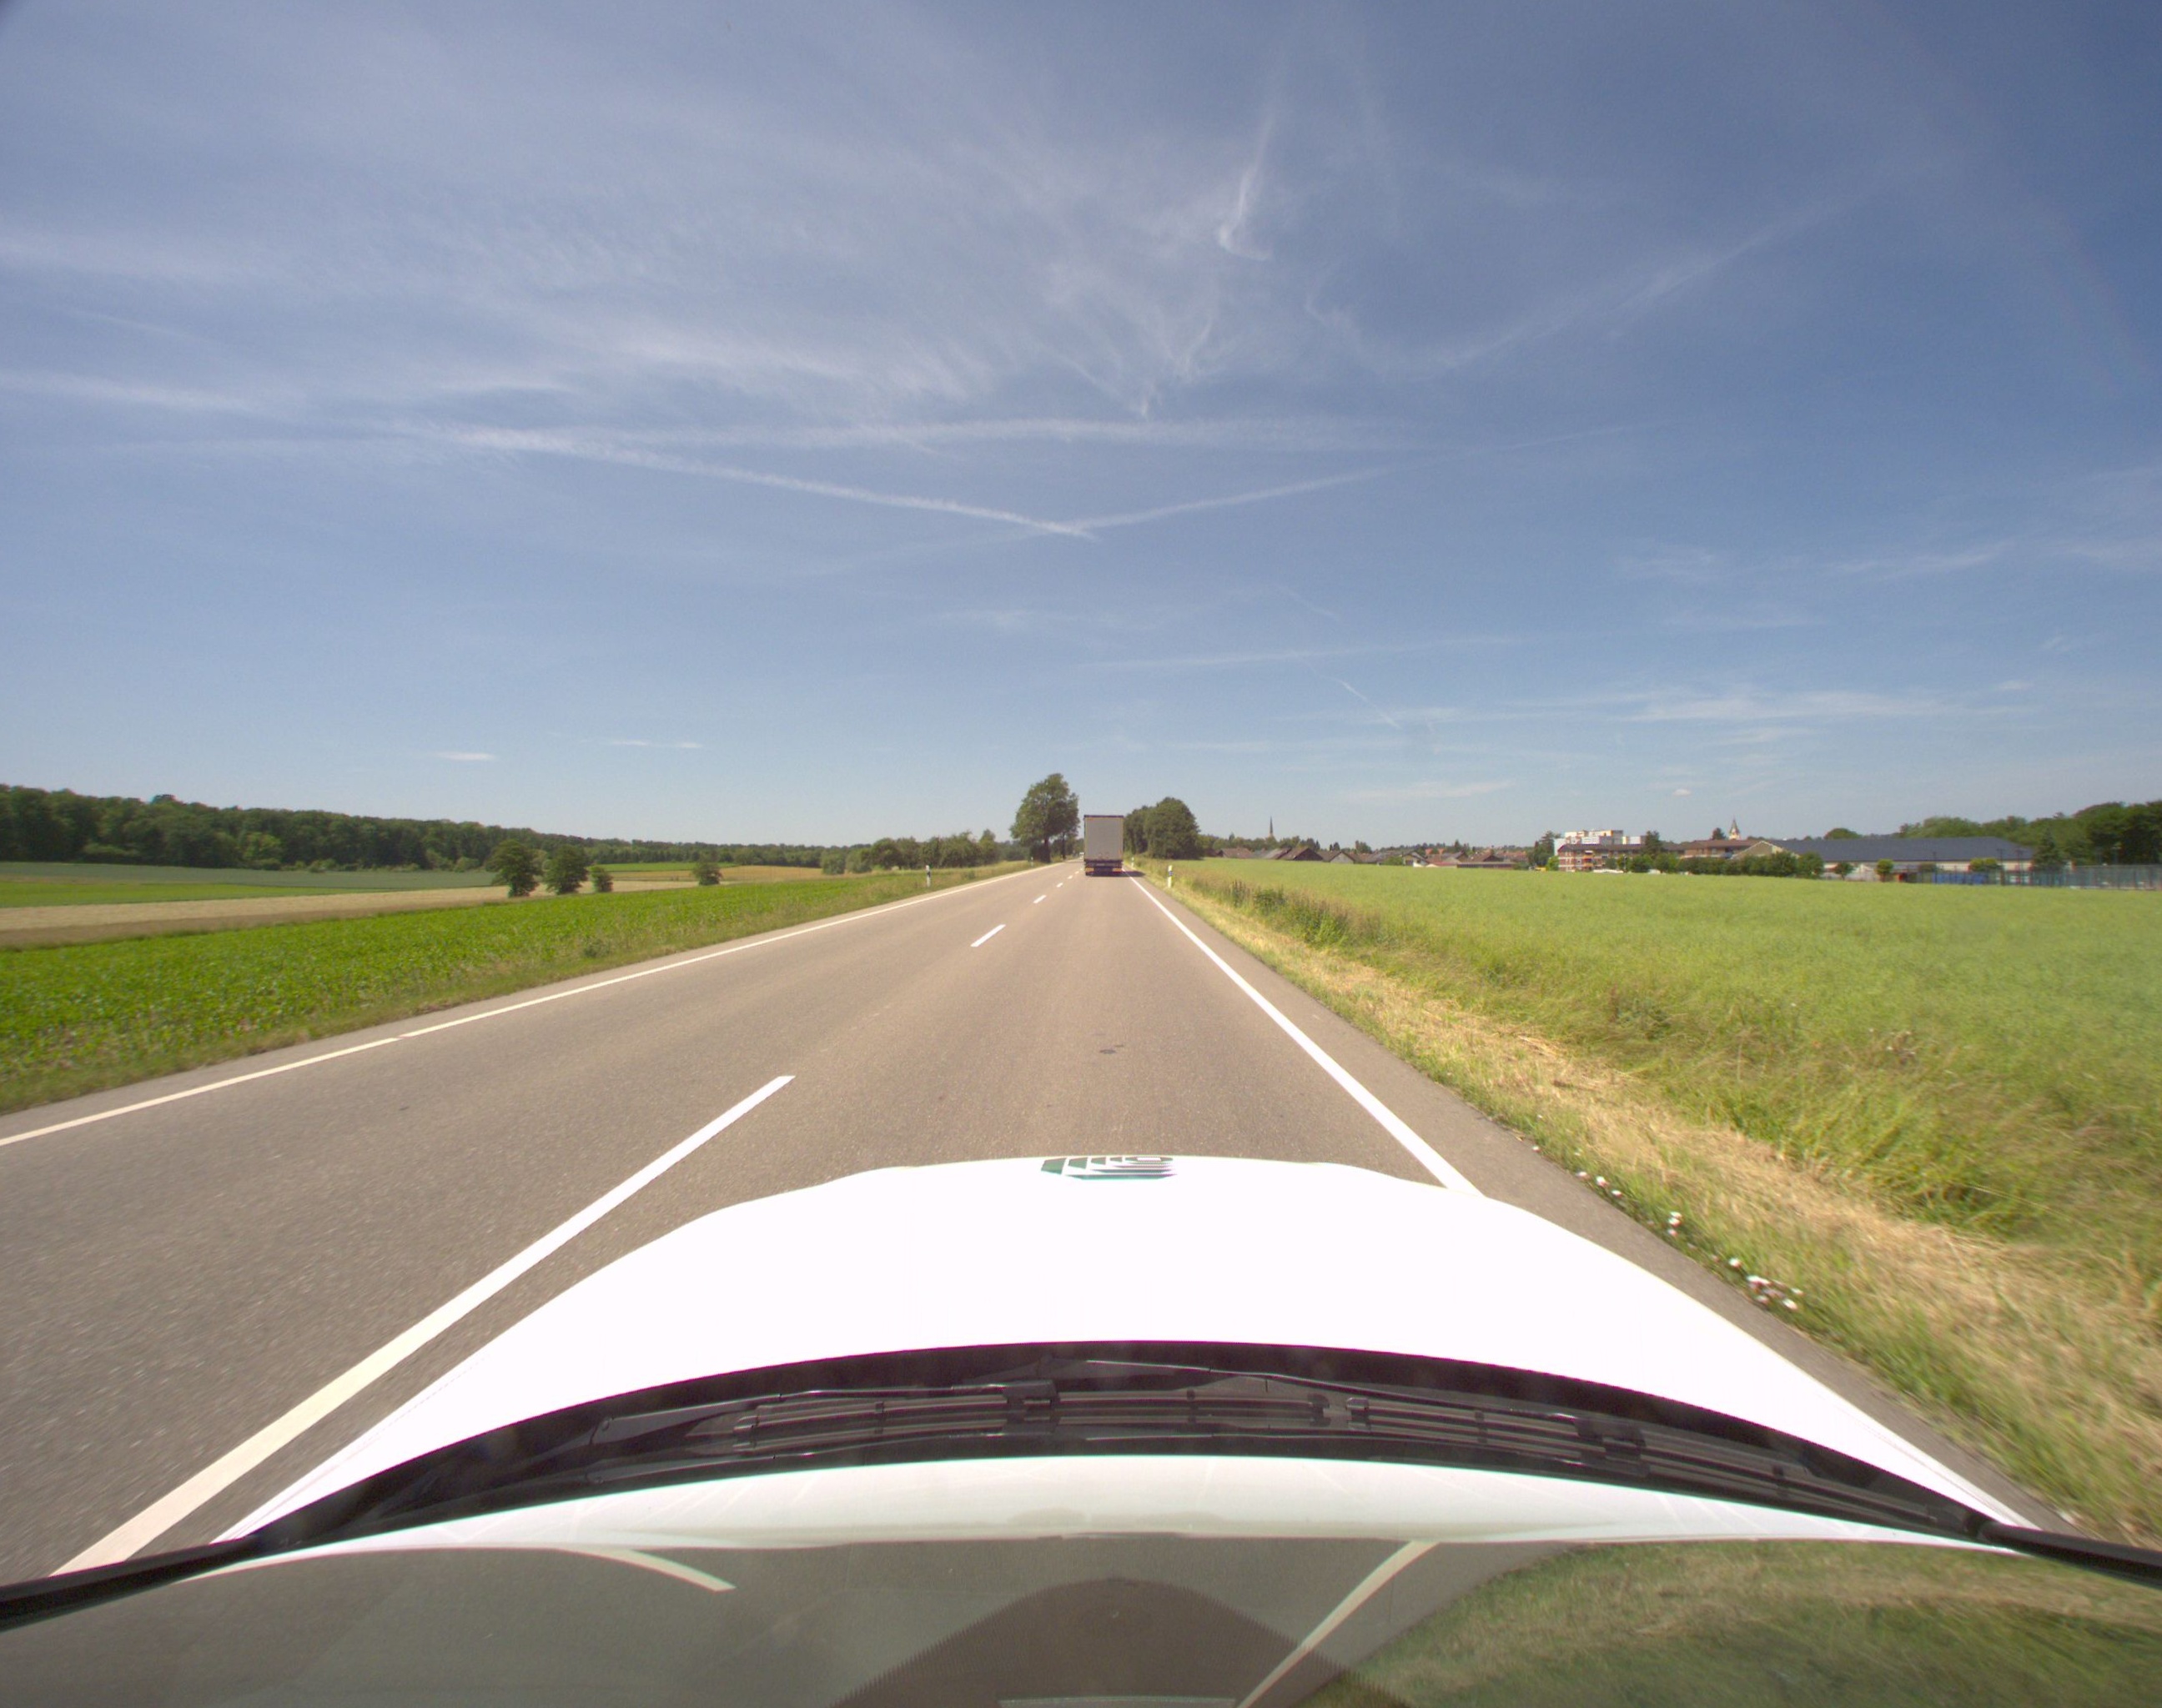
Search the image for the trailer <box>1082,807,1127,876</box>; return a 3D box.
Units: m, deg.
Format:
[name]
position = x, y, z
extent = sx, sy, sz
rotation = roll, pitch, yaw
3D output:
[trailer]
position = 1.643, -0.809, 58.666
extent = 2.857, 4.400, 13.495
rotation = 0, 0, 1
